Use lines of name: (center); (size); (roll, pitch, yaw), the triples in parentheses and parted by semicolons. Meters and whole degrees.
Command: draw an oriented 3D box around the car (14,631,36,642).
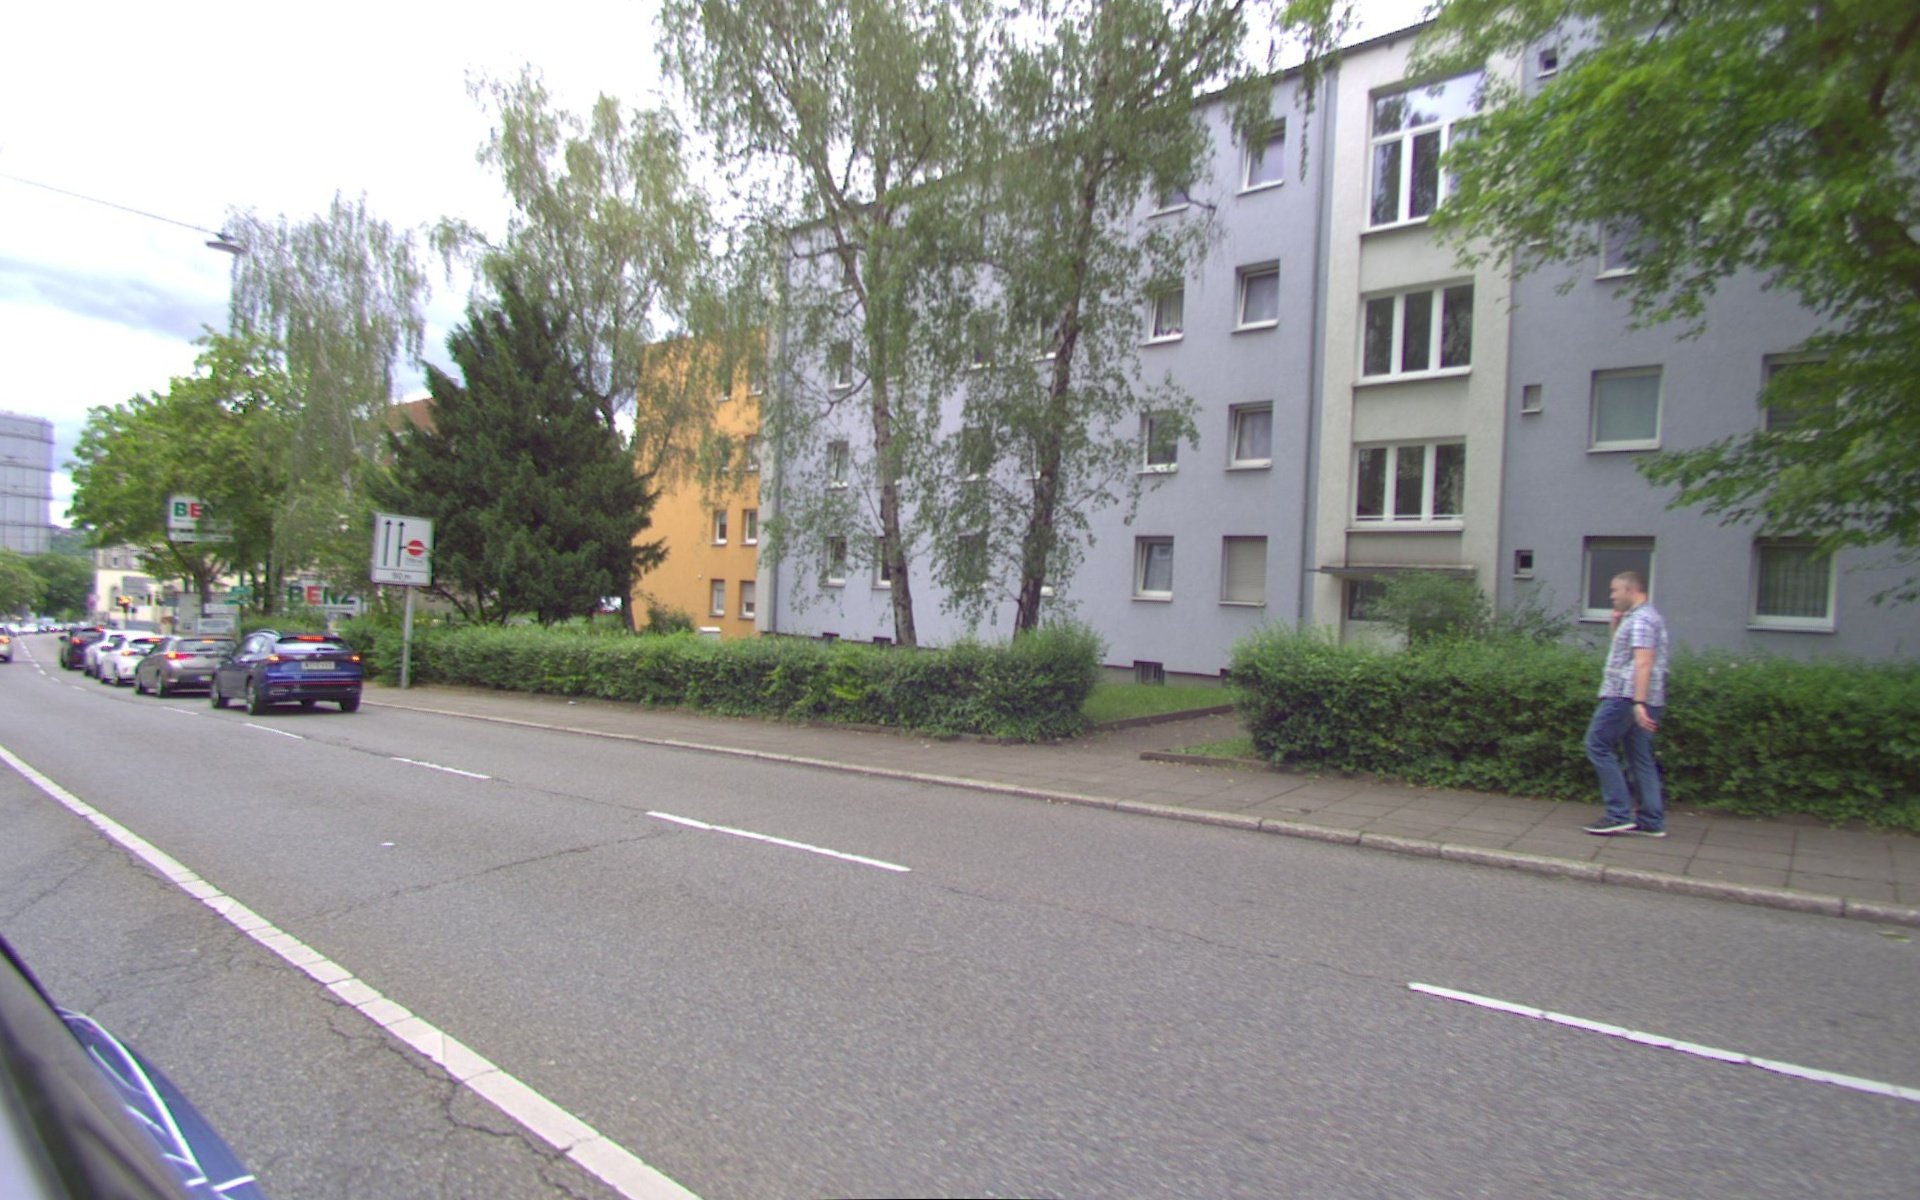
car: (-139.891, 5.431, 151.481); (1.967, 1.612, 4.009); (-1, -1, -36)

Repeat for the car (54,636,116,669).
car: (-37.699, 2.244, 43.574); (1.780, 1.291, 4.240); (5, -4, -43)

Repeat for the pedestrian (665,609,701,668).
pedestrian: (-8.505, 1.182, 31.056); (0.714, 1.768, 0.794); (1, -6, -44)

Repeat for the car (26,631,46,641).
car: (-150.118, 5.841, 164.505); (1.967, 1.612, 4.009); (-1, -1, -36)

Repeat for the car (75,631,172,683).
car: (-27.992, 1.873, 33.833); (4.499, 1.606, 1.929); (-1, -4, 44)

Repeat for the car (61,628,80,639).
car: (-134.287, 5.063, 152.778); (1.731, 1.458, 3.760); (0, -1, -36)

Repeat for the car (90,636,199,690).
car: (-23.643, 1.799, 29.305); (4.073, 1.423, 1.819); (-1, -4, 43)

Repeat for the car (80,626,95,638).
car: (-151.660, 5.571, 175.941); (1.841, 1.898, 4.293); (4, -4, -39)

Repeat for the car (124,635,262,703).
car: (-18.635, 1.618, 24.520); (4.309, 1.459, 1.819); (-1, -3, 42)

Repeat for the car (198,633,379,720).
car: (-12.934, 1.385, 19.390); (4.309, 1.459, 1.819); (-1, -3, 42)

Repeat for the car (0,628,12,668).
car: (-40.001, 1.900, 41.270); (1.755, 1.558, 4.328); (5, -4, -44)

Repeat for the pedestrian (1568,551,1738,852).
pedestrian: (4.957, 0.661, 7.231); (0.867, 1.964, 0.873); (-2, 0, 41)

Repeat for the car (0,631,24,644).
car: (-127.020, 5.023, 135.483); (1.967, 1.612, 4.009); (-1, -1, -36)

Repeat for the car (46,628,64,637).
car: (-156.517, 5.616, 175.107); (1.967, 1.612, 4.009); (-1, -1, -36)

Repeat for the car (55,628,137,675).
car: (-33.115, 1.954, 38.744); (4.415, 1.655, 1.929); (-1, -4, 44)
